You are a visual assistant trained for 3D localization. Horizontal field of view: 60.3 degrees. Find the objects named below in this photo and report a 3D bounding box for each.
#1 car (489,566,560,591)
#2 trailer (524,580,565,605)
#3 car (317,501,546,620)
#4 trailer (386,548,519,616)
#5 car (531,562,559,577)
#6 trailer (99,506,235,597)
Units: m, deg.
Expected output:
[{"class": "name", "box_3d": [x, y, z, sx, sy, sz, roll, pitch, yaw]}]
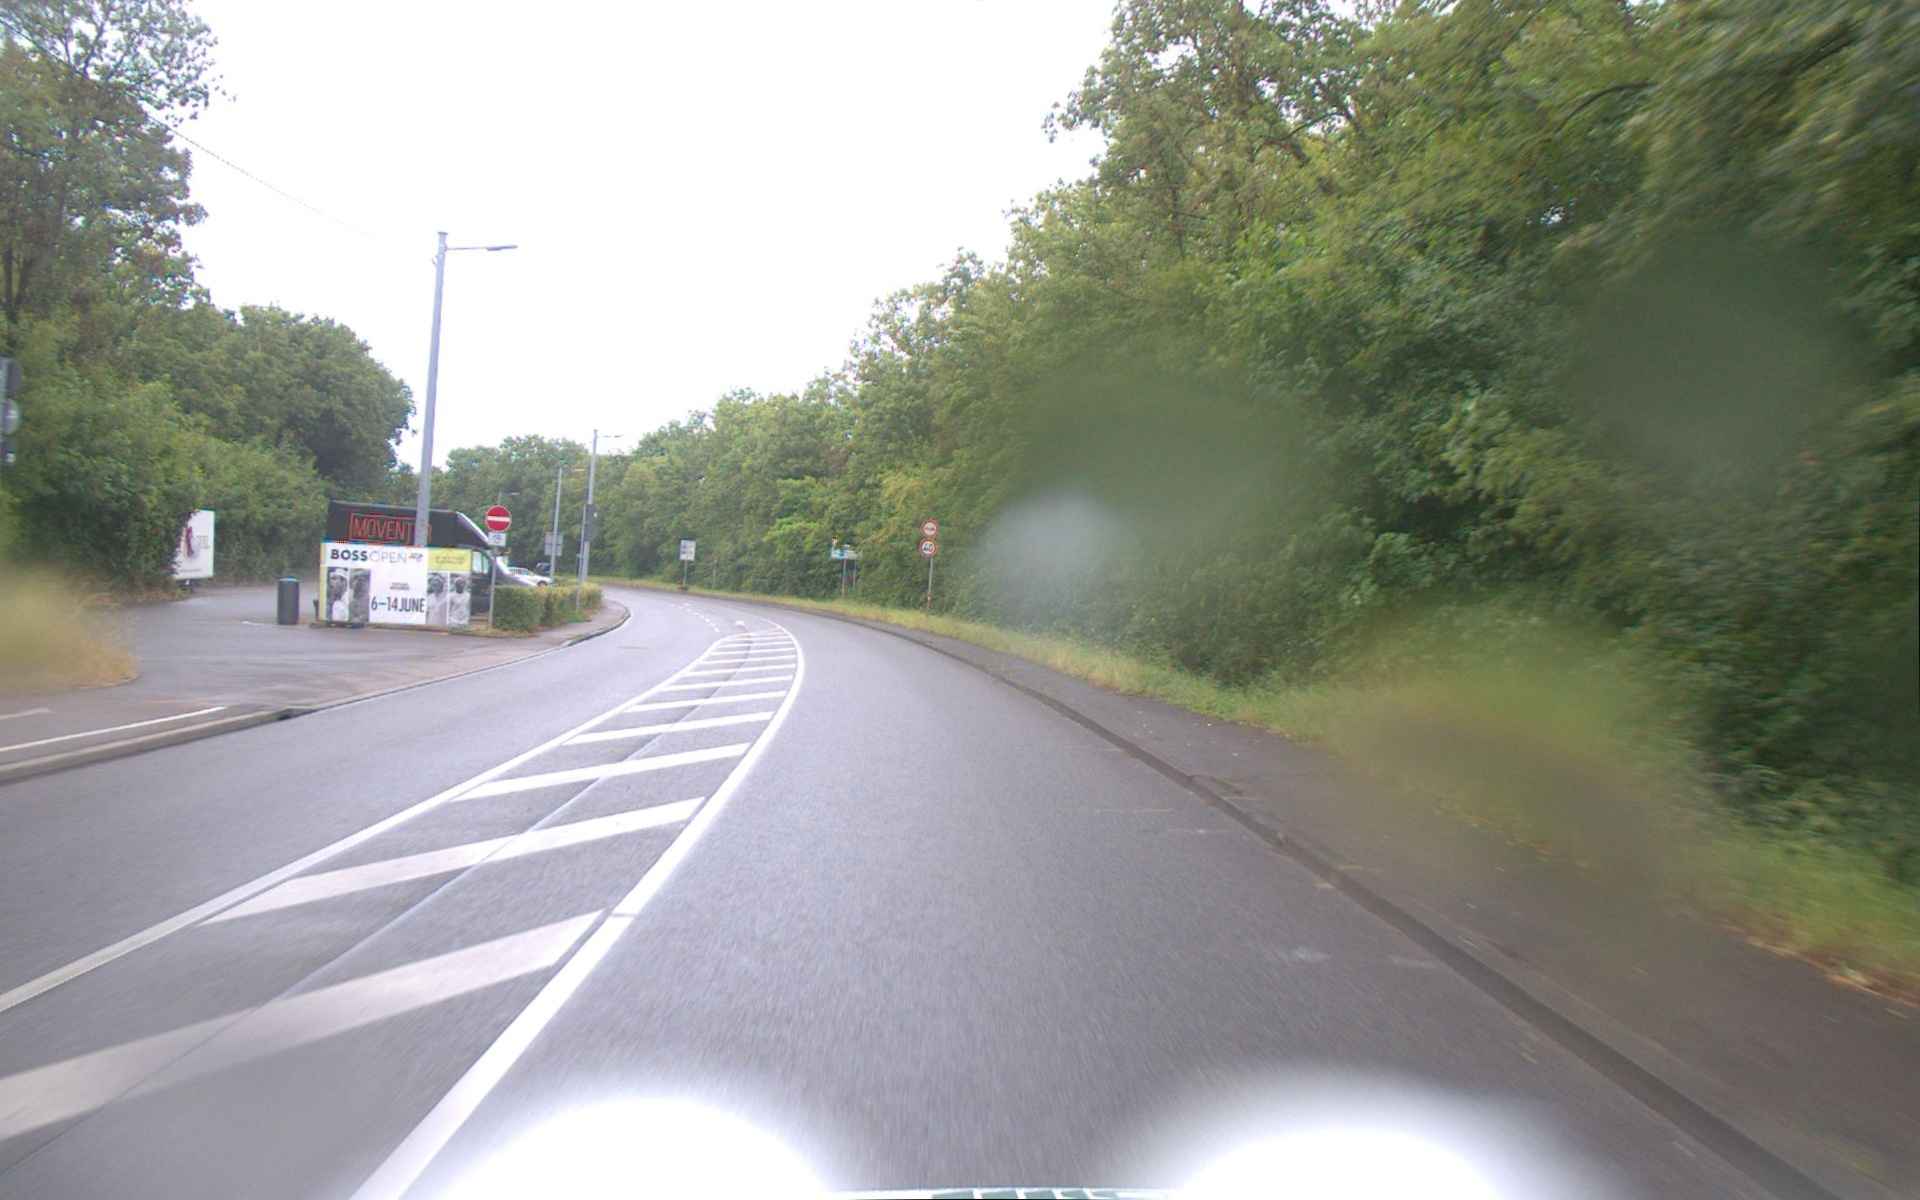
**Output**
[{"class": "car", "box_3d": [-30.336, -1.491, 115.226, 4.516, 1.532, 1.985, 3, 0, -25]}, {"class": "trailer", "box_3d": [-18.961, -0.330, 75.416, 1.772, 1.052, 1.328, 2, 0, -16]}, {"class": "car", "box_3d": [-15.692, -1.125, 49.531, 6.162, 3.168, 2.743, 2, -1, -13]}, {"class": "trailer", "box_3d": [-16.789, -0.586, 54.853, 3.914, 2.088, 1.869, 2, 0, -10]}, {"class": "car", "box_3d": [-45.377, -3.353, 180.736, 1.914, 1.524, 4.276, 2, 1, -29]}, {"class": "trailer", "box_3d": [-27.802, -1.638, 58.361, 2.432, 2.924, 7.953, 2, 0, -12]}]
